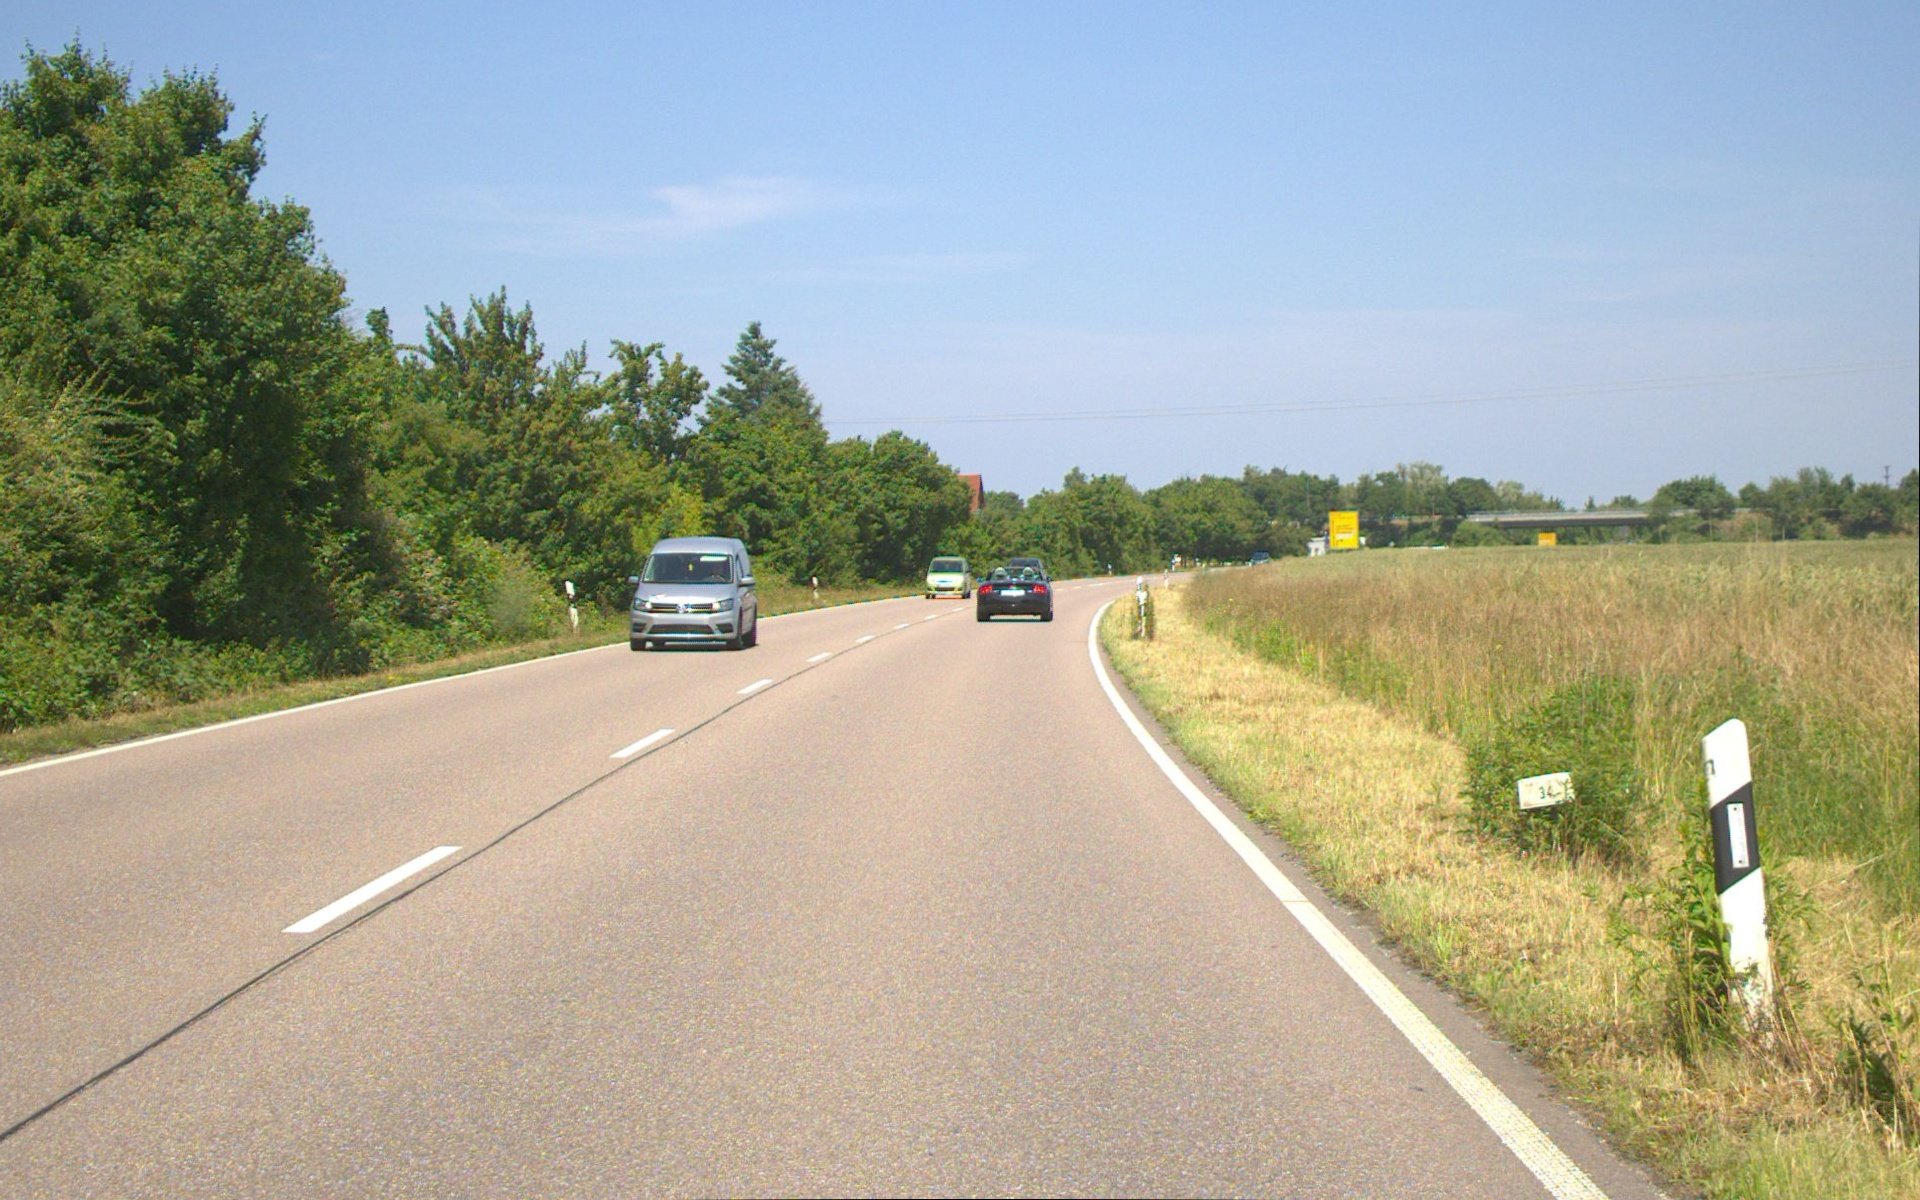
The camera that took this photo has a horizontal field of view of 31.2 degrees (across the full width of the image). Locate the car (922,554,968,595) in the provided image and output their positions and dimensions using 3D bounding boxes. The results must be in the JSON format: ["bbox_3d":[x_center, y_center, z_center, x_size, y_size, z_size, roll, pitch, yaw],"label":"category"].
[{"bbox_3d":[-0.538,-0.945,126.244,1.497,1.490,3.832,0,1,3],"label":"car"}]

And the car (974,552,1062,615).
[{"bbox_3d":[1.403,-0.397,81.856,1.814,1.436,3.999,1,1,5],"label":"car"}]

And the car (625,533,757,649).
[{"bbox_3d":[-4.386,-0.174,56.605,1.763,1.813,4.804,0,1,0],"label":"car"}]
